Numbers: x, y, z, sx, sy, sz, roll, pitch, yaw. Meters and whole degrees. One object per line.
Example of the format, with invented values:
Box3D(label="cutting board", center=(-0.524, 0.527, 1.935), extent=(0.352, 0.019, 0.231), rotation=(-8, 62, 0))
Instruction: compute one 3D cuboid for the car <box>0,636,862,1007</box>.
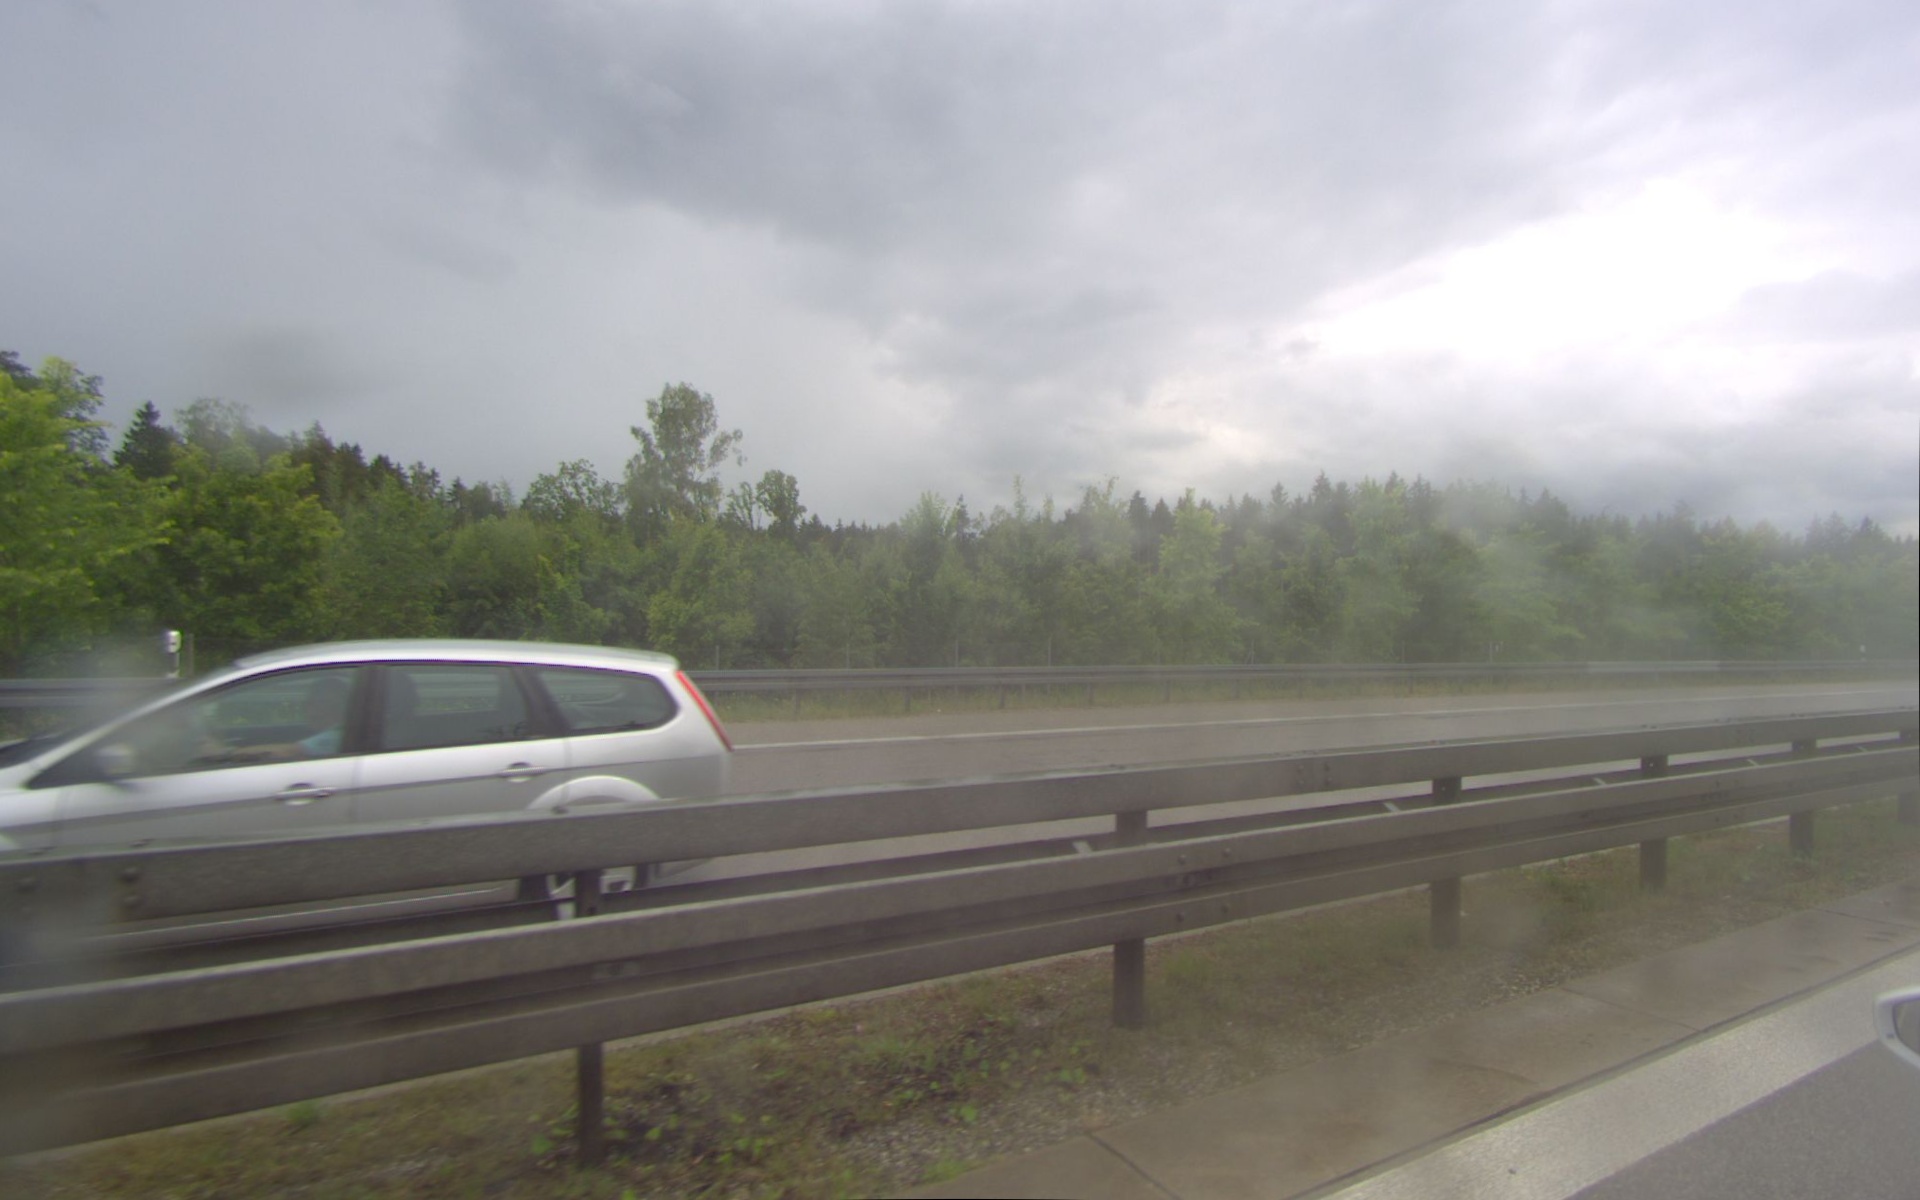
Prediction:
Box3D(label="car", center=(-2.965, 0.929, 5.566), extent=(4.558, 1.437, 1.757), rotation=(1, -2, -34))
